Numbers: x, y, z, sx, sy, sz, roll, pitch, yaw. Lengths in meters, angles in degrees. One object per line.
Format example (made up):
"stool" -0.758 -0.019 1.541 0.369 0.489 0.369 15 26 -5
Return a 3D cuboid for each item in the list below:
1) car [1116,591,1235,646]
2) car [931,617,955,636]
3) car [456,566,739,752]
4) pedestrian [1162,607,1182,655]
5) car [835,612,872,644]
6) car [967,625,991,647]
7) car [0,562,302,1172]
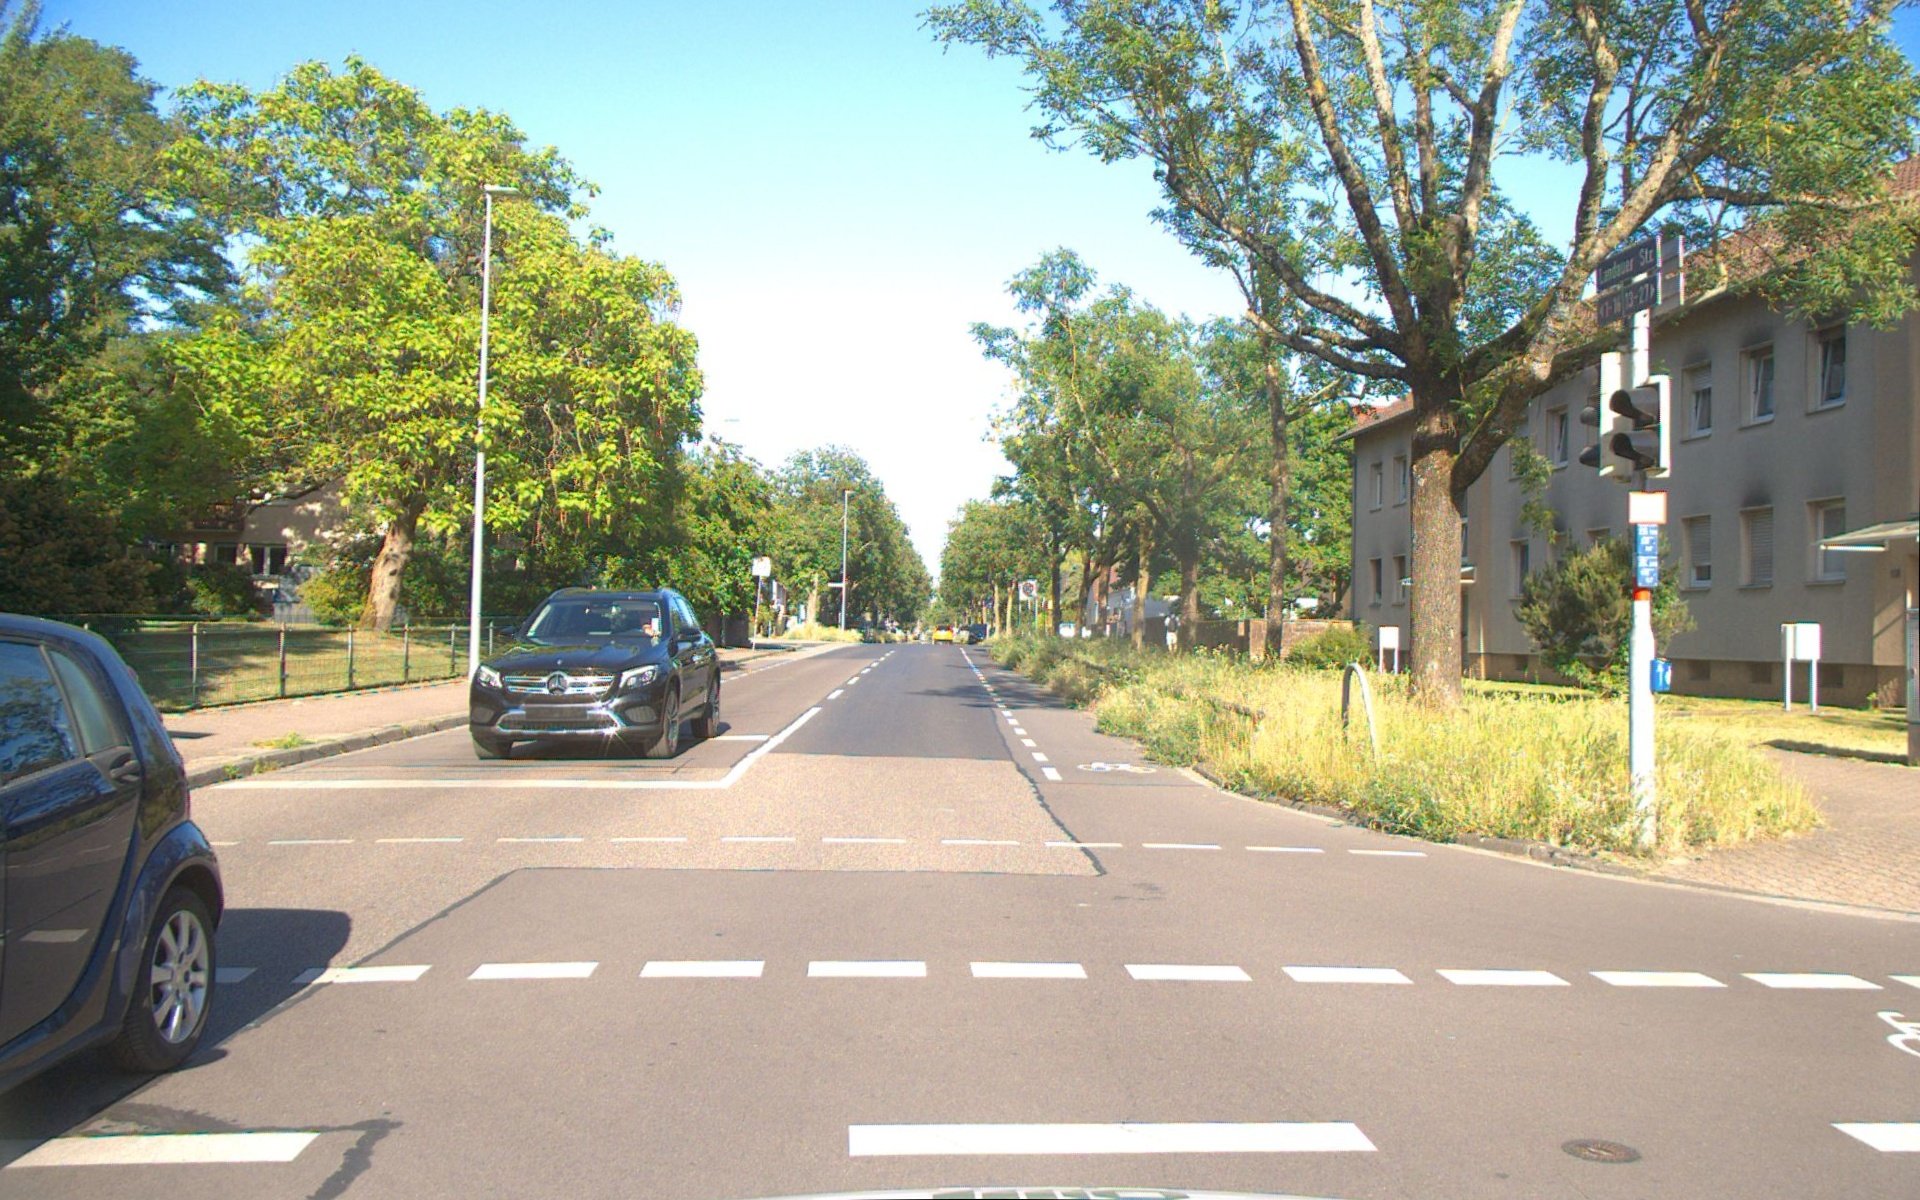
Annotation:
"car" 10.651 0.902 81.913 5.484 2.584 2.264 1 -1 -4
"car" -1.513 2.362 147.092 1.851 1.505 3.884 3 -2 -3
"car" -3.534 0.546 16.954 1.777 1.646 4.393 -1 -1 2
"pedestrian" 7.833 1.129 61.091 0.624 1.736 0.612 -1 0 -2
"car" -6.709 1.787 104.337 1.913 1.757 4.874 3 -3 0
"car" 1.494 2.922 132.754 1.815 1.654 4.468 0 -2 -1
"car" -3.215 0.649 4.005 1.769 1.480 3.848 0 -2 -2
